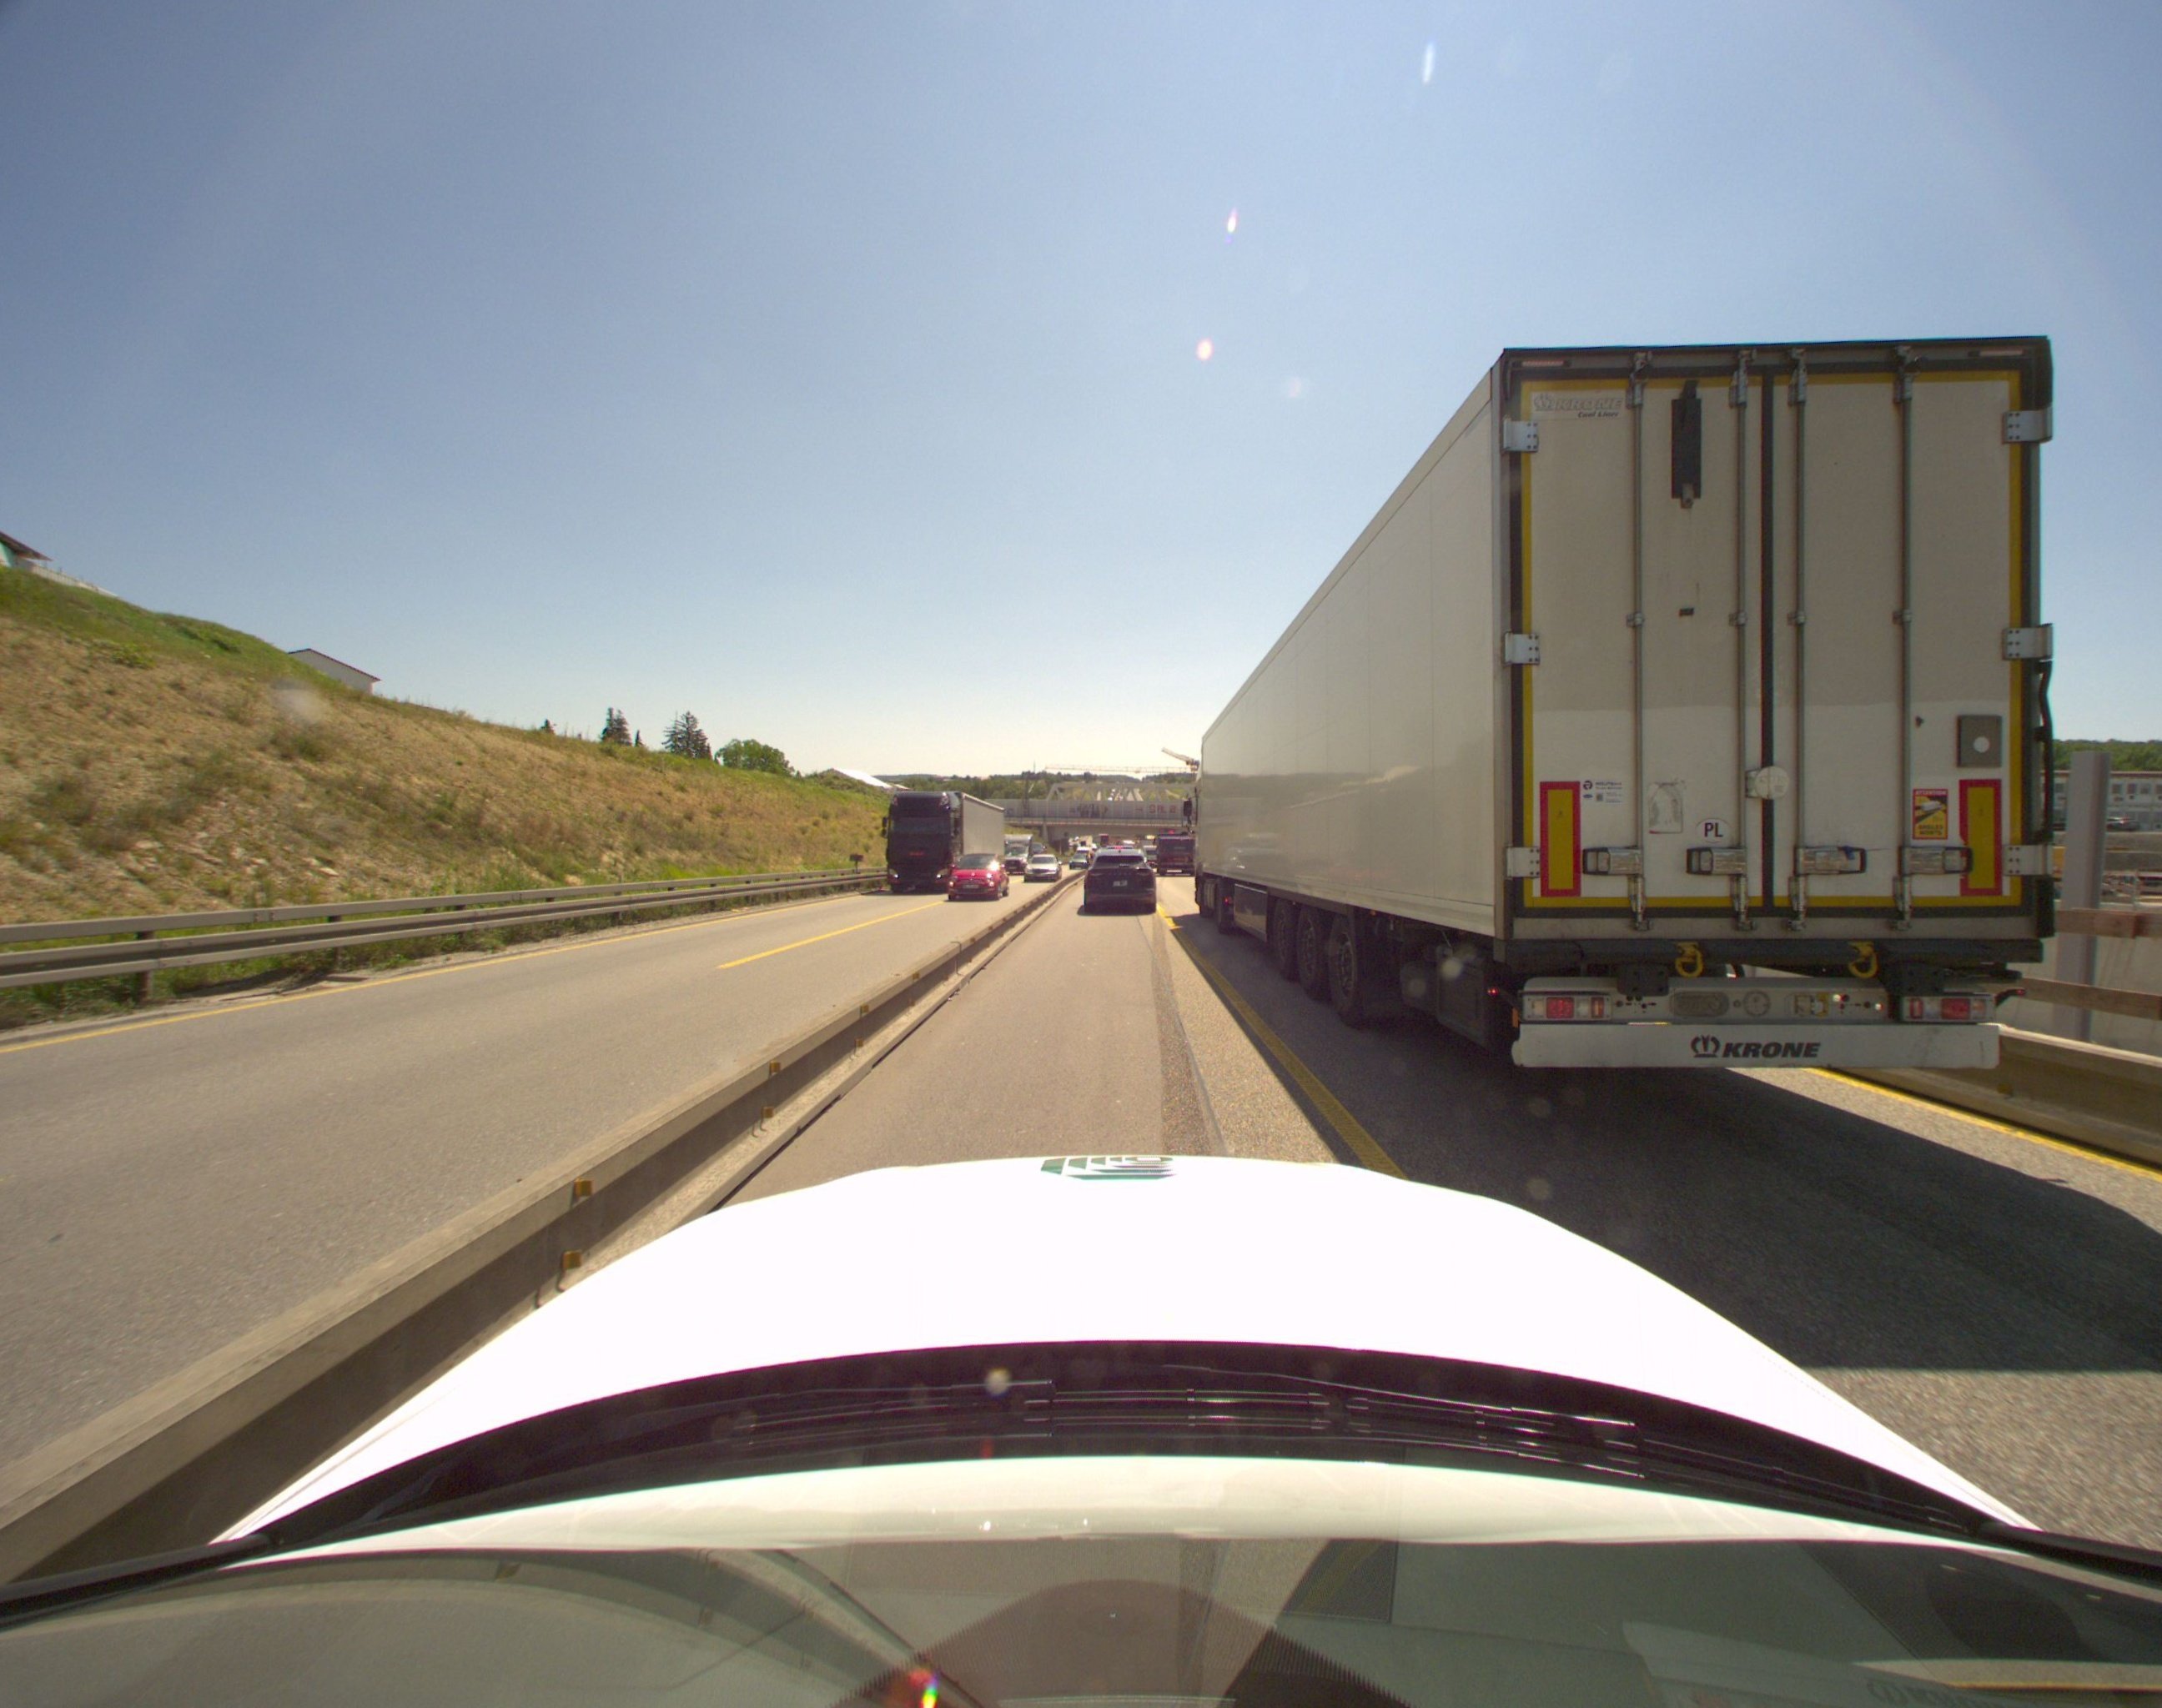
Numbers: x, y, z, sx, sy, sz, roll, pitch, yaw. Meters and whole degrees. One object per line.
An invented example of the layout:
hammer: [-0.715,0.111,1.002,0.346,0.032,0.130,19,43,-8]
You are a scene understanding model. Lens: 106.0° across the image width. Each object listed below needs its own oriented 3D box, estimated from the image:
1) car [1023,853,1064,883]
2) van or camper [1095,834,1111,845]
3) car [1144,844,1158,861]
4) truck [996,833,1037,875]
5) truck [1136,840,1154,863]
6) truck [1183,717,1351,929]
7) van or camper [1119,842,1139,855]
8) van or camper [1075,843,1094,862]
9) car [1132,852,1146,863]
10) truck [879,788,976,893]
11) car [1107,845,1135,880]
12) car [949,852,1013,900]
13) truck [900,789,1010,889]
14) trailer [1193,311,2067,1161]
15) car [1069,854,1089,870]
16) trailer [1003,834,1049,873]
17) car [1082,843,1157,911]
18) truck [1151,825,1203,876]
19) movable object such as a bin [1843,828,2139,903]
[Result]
car: [-1.938,0.690,43.443,1.819,1.487,4.198,-1,0,2]
van or camper: [7.004,-4.733,259.192,3.941,3.419,8.382,0,1,-8]
car: [9.893,-0.180,114.661,1.656,2.269,3.797,1,0,1]
truck: [-4.583,-0.017,58.909,2.259,2.882,5.854,0,0,2]
truck: [12.148,-0.500,155.076,3.163,4.318,9.265,0,0,3]
truck: [3.876,-0.599,18.101,2.766,4.058,4.907,0,0,2]
van or camper: [13.131,-1.493,224.310,3.941,3.419,8.383,0,1,-8]
van or camper: [0.485,-0.207,111.615,2.206,2.481,4.755,0,0,4]
car: [7.031,0.438,99.339,1.486,1.330,3.244,1,0,1]
truck: [-5.996,-0.498,32.630,2.757,3.884,4.966,0,0,2]
car: [2.169,0.412,43.954,1.468,1.795,3.301,0,0,3]
car: [-3.251,0.672,26.915,1.584,1.487,3.297,-1,0,2]
truck: [-5.747,-0.633,40.082,2.756,4.087,13.813,0,0,2]
trailer: [3.584,-0.570,10.975,2.790,4.058,14.125,0,0,2]
car: [-0.153,0.718,77.356,1.659,1.428,4.003,-1,0,3]
trailer: [-4.307,-0.041,66.313,2.259,2.882,13.050,0,0,2]
car: [0.997,0.562,21.234,1.793,1.620,3.299,0,0,2]
truck: [6.588,-0.245,57.637,2.802,3.135,12.847,0,0,3]
movable object such as a bin: [39.475,0.418,36.099,2.876,2.909,9.486,0,0,3]
